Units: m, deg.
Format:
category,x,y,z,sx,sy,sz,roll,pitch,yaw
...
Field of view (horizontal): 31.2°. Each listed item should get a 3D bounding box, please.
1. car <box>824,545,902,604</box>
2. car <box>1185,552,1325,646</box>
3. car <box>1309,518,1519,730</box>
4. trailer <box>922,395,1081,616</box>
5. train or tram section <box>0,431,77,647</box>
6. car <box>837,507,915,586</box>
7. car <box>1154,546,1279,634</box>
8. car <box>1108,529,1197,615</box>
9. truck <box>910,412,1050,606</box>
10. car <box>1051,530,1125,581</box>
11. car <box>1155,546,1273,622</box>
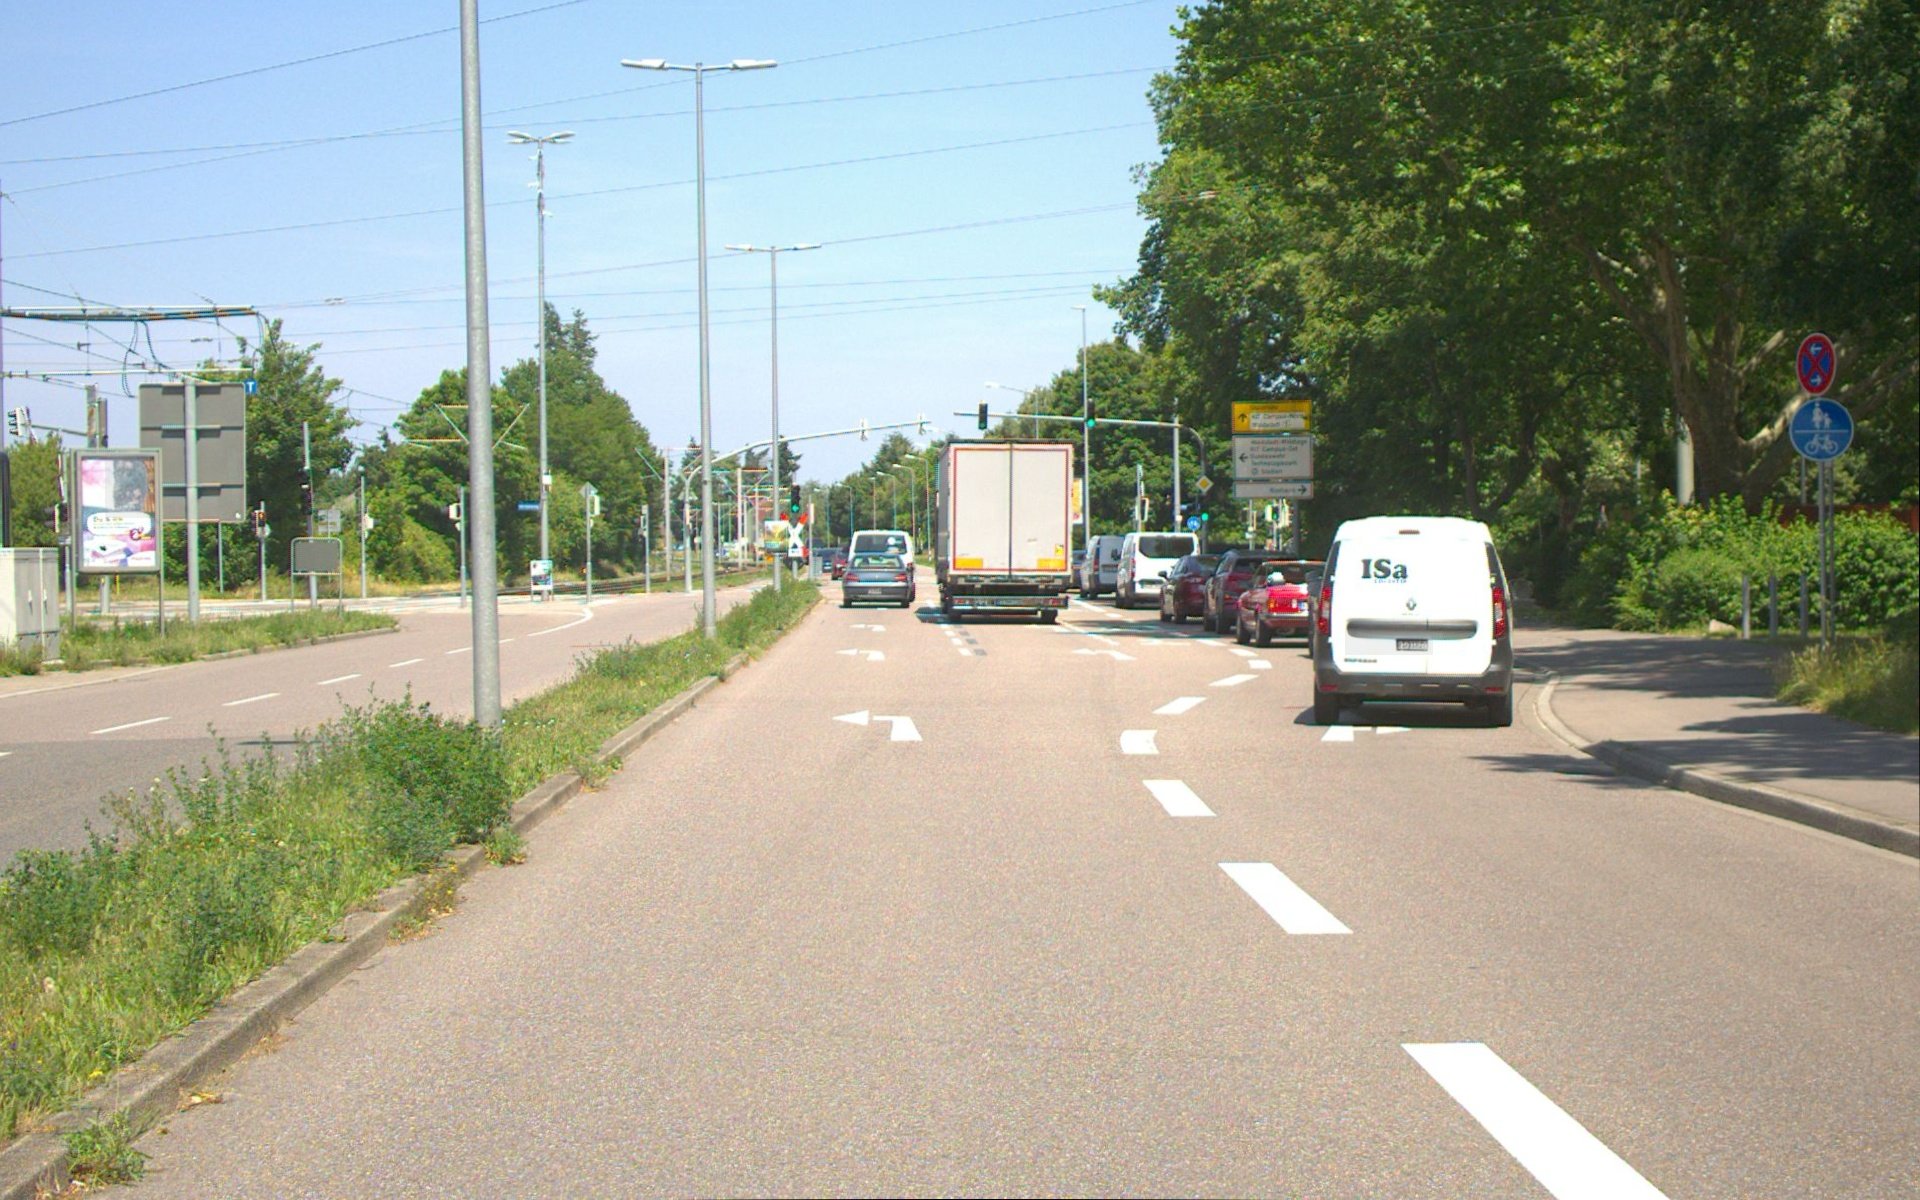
category,x,y,z,sx,sy,sz,roll,pitch,yaw
car,-2.496,-0.638,87.823,1.892,1.367,4.430,2,-1,-2
car,4.640,-0.039,54.598,1.654,1.392,4.268,1,1,-2
car,4.074,0.160,30.921,1.710,1.741,4.426,1,1,7
trailer,0.792,-1.985,73.725,2.827,4.406,8.750,1,1,-3
train or tram section,-18.446,-1.139,60.892,3.036,3.454,13.295,0,1,-25
car,-2.363,-1.511,95.641,1.993,2.104,4.748,0,2,-3
car,4.726,-0.205,63.833,1.858,1.544,3.887,1,1,-2
car,4.912,-0.743,88.227,1.890,2.114,3.887,1,1,-2
truck,0.396,-2.187,82.279,2.827,4.329,8.285,1,2,-3
car,3.763,-1.321,101.581,1.993,1.432,4.251,0,2,-1
car,5.350,-0.373,72.863,1.993,1.498,4.503,0,1,-2
